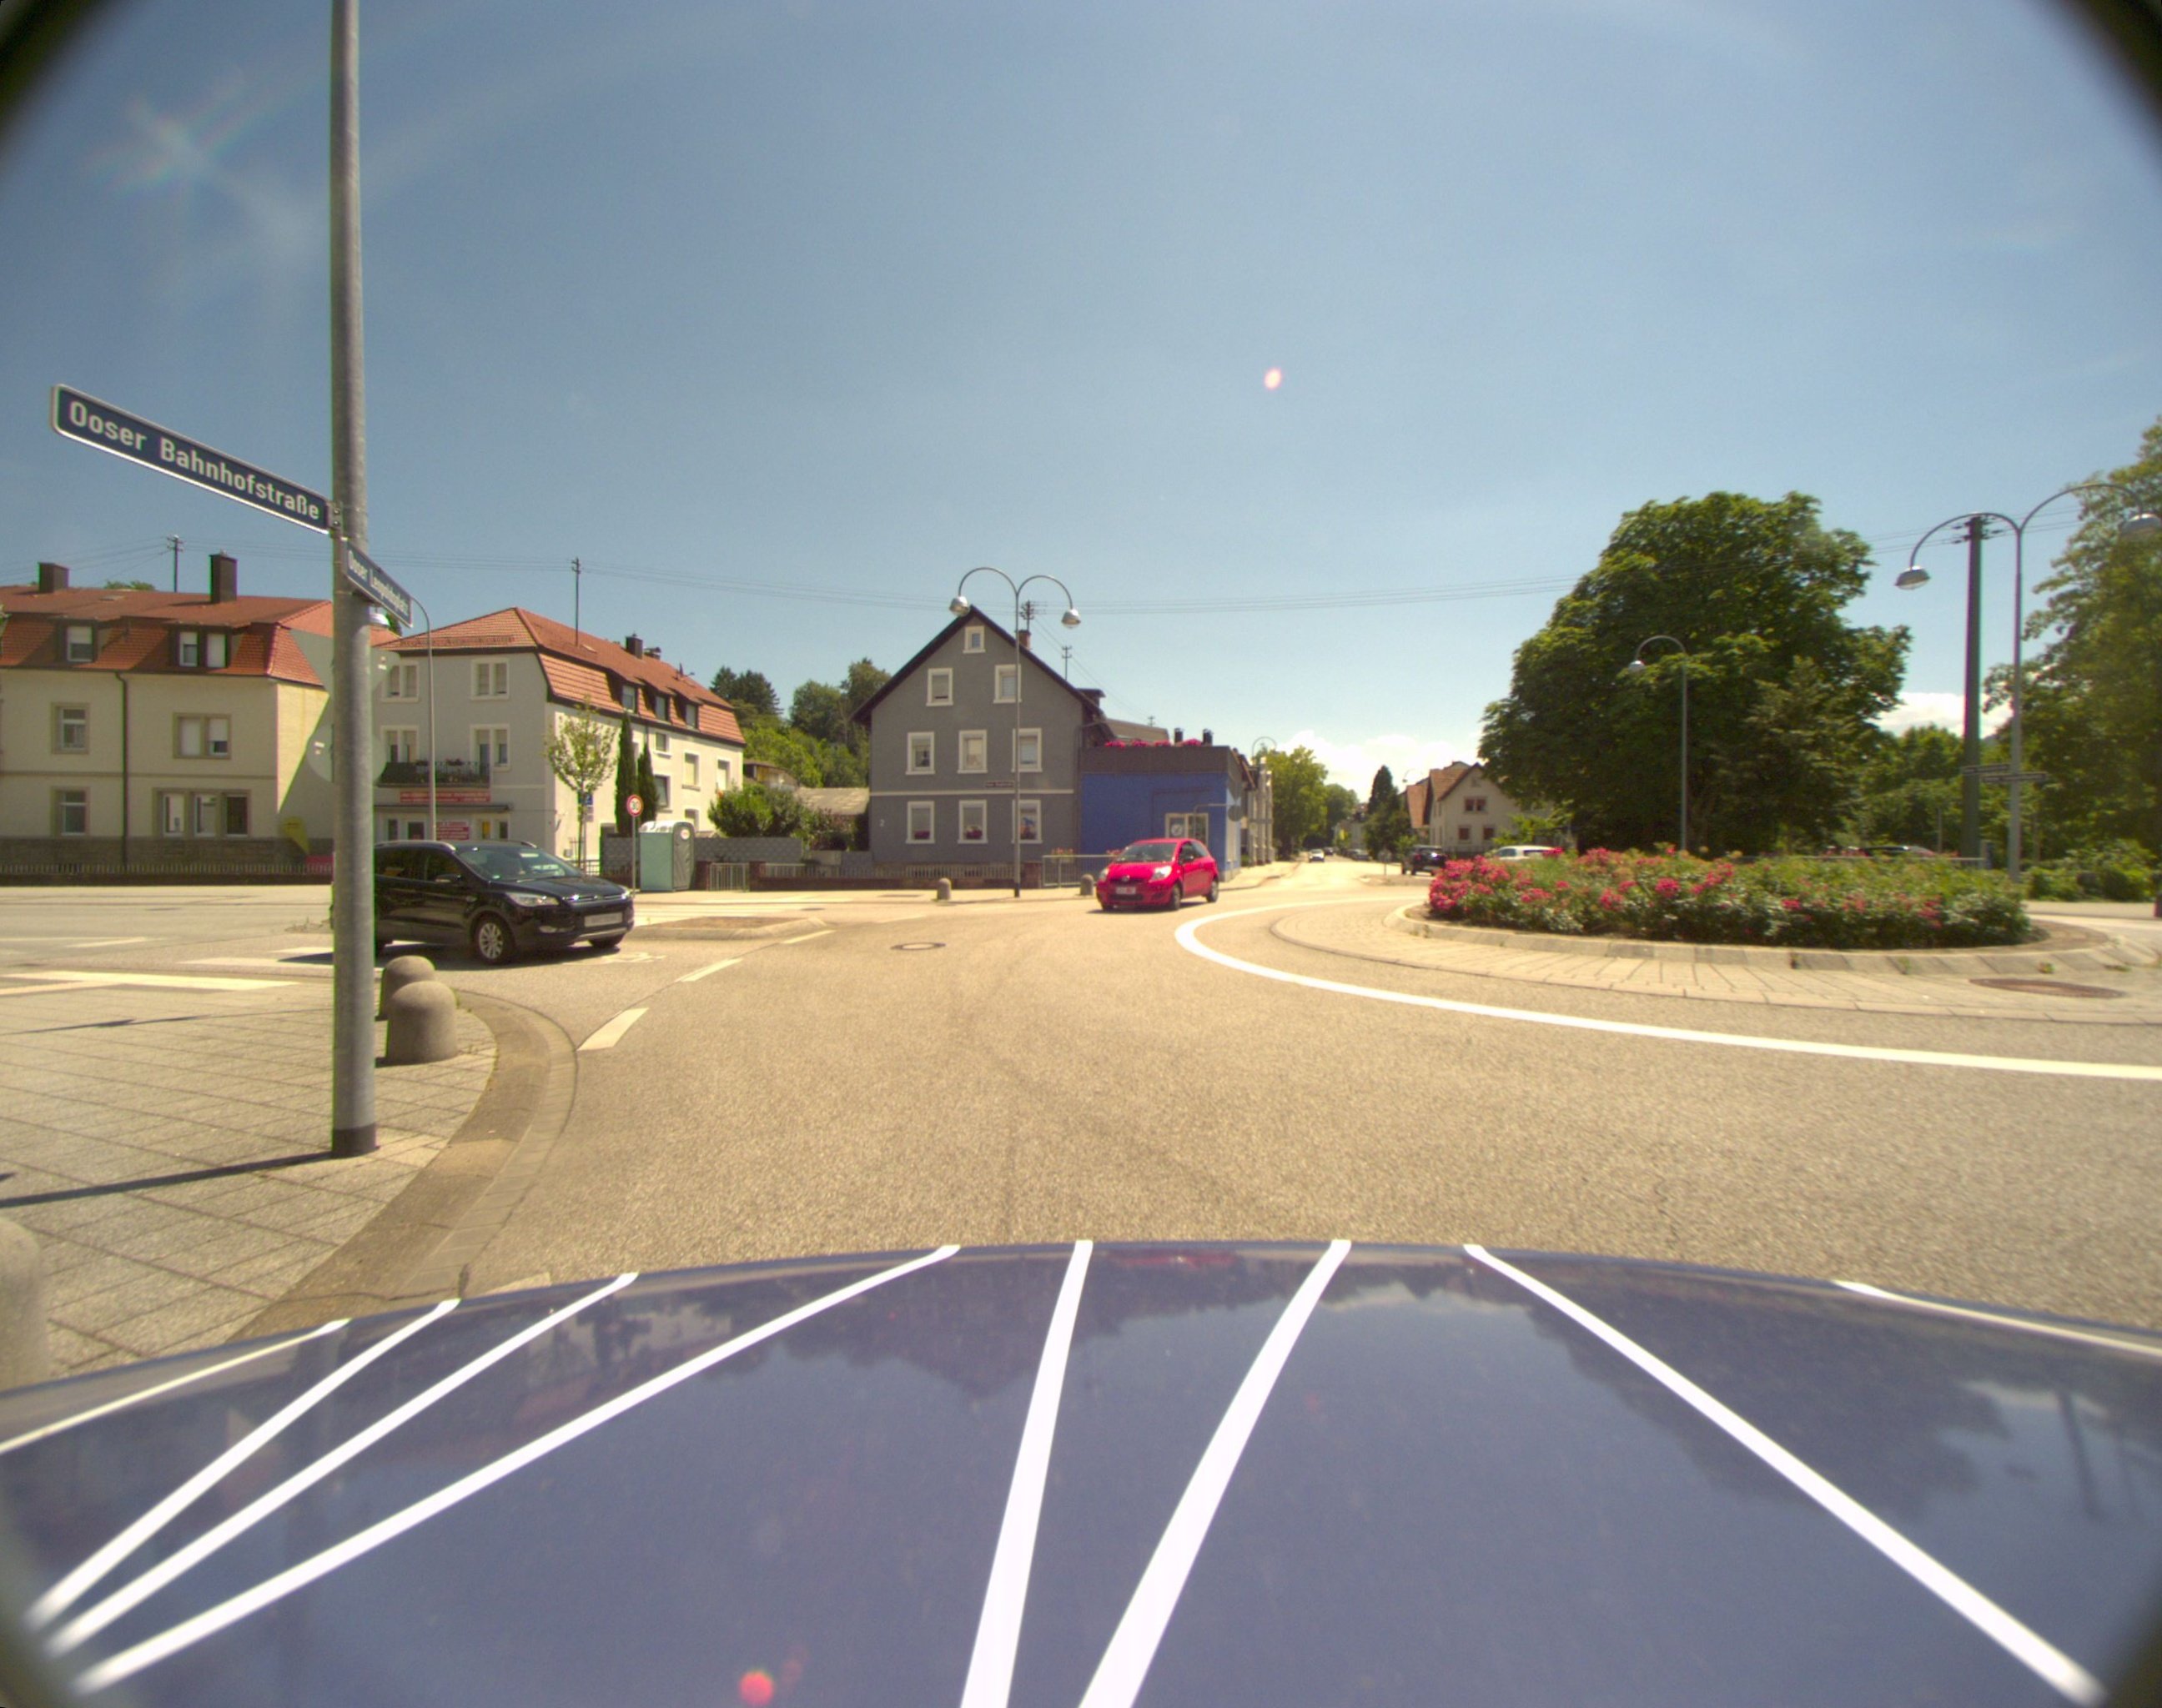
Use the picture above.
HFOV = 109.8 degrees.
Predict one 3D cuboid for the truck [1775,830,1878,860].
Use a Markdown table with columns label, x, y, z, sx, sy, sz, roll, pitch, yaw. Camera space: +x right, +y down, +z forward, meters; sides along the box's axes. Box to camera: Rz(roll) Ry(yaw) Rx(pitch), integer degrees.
| label | x | y | z | sx | sy | sz | roll | pitch | yaw |
| --- | --- | --- | --- | --- | --- | --- | --- | --- | --- |
| truck | 64.868 | -0.766 | 66.201 | 2.270 | 2.428 | 6.200 | 3 | -1 | -42 |

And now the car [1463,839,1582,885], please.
| label | x | y | z | sx | sy | sz | roll | pitch | yaw |
| --- | --- | --- | --- | --- | --- | --- | --- | --- | --- |
| car | 15.715 | 0.228 | 27.326 | 1.931 | 1.374 | 4.287 | -1 | 3 | 3 |

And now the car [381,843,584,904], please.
| label | x | y | z | sx | sy | sz | roll | pitch | yaw |
| --- | --- | --- | --- | --- | --- | --- | --- | --- | --- |
| car | -17.492 | 0.545 | 22.383 | 4.283 | 1.576 | 1.998 | 0 | 5 | 1 |

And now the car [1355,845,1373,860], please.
| label | x | y | z | sx | sy | sz | roll | pitch | yaw |
| --- | --- | --- | --- | --- | --- | --- | --- | --- | --- |
| car | 40.494 | -0.242 | 108.709 | 1.996 | 2.001 | 4.006 | 2 | -1 | 16 |

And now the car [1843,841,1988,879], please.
| label | x | y | z | sx | sy | sz | roll | pitch | yaw |
| --- | --- | --- | --- | --- | --- | --- | --- | --- | --- |
| car | 37.474 | 0.233 | 34.264 | 1.843 | 1.592 | 3.994 | 0 | 1 | -14 |

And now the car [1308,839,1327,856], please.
| label | x | y | z | sx | sy | sz | roll | pitch | yaw |
| --- | --- | --- | --- | --- | --- | --- | --- | --- | --- |
| car | 29.550 | -0.815 | 95.023 | 1.996 | 2.001 | 4.006 | 2 | -1 | 16 |

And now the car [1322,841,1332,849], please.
| label | x | y | z | sx | sy | sz | roll | pitch | yaw |
| --- | --- | --- | --- | --- | --- | --- | --- | --- | --- |
| car | 53.658 | -1.946 | 165.730 | 1.737 | 1.695 | 4.005 | -1 | -2 | 13 |

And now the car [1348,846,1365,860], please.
| label | x | y | z | sx | sy | sz | roll | pitch | yaw |
| --- | --- | --- | --- | --- | --- | --- | --- | --- | --- |
| car | 43.305 | -0.096 | 119.332 | 1.996 | 2.001 | 4.005 | 2 | -1 | 13 |

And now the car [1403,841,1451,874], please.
| label | x | y | z | sx | sy | sz | roll | pitch | yaw |
| --- | --- | --- | --- | --- | --- | --- | --- | --- | --- |
| car | 18.582 | 0.142 | 40.955 | 1.995 | 1.554 | 4.171 | 2 | 3 | 20 |

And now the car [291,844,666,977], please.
| label | x | y | z | sx | sy | sz | roll | pitch | yaw |
| --- | --- | --- | --- | --- | --- | --- | --- | --- | --- |
| car | -8.779 | 0.709 | 11.196 | 4.517 | 1.679 | 2.002 | 0 | 2 | 15 |

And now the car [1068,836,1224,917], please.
| label | x | y | z | sx | sy | sz | roll | pitch | yaw |
| --- | --- | --- | --- | --- | --- | --- | --- | --- | --- |
| car | 1.557 | 0.408 | 16.524 | 1.830 | 1.524 | 4.007 | -1 | 1 | 30 |
